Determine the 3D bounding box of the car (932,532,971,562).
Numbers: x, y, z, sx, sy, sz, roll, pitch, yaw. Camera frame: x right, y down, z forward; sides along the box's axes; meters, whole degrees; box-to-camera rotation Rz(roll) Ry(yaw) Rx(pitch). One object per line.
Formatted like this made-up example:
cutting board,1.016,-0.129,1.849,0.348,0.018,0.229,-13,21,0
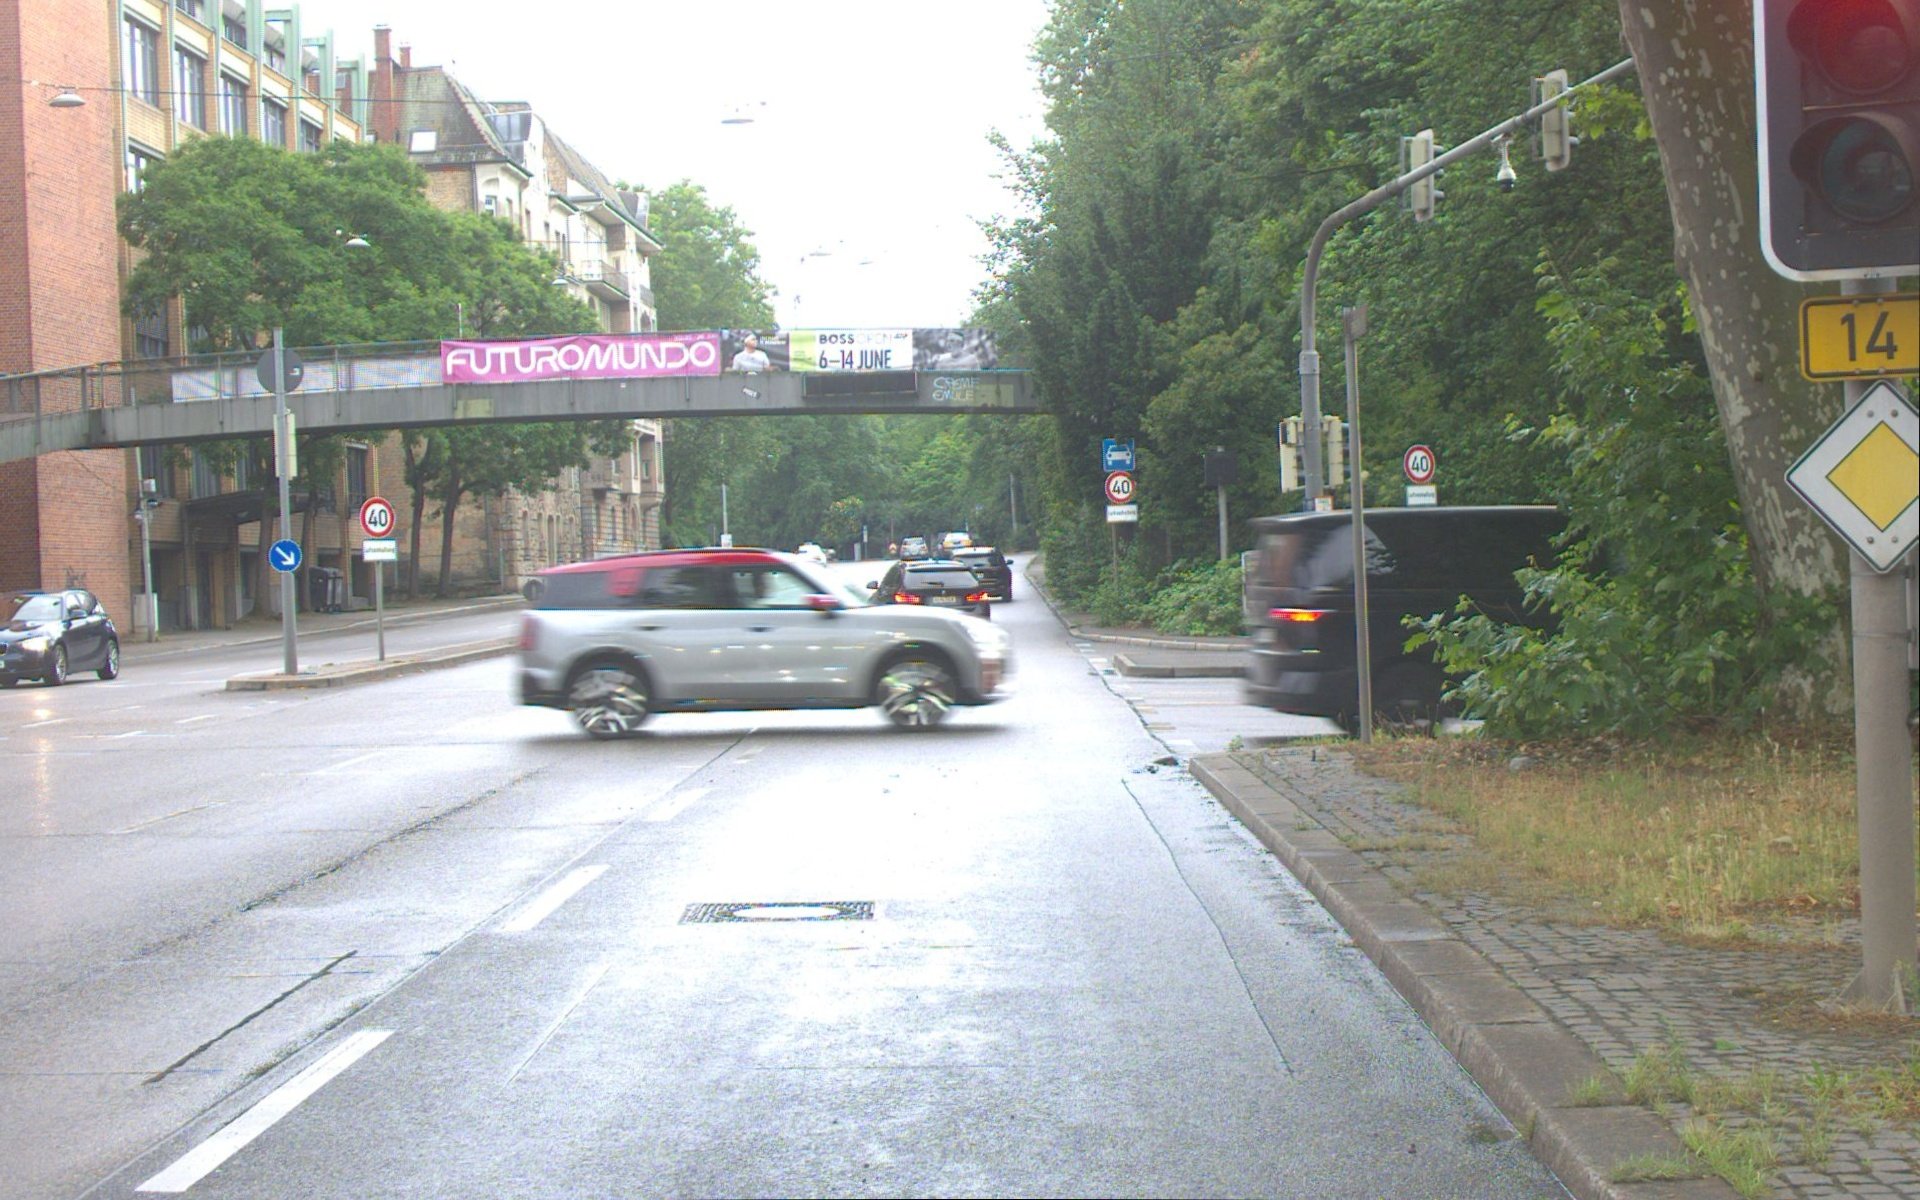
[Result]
car,-0.502,-3.111,202.028,2.120,1.729,4.199,0,2,-3

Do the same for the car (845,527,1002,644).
car,-0.687,-0.250,59.899,2.128,1.829,4.354,-4,1,-7

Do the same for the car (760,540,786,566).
car,-13.035,-3.250,239.762,1.619,1.691,3.549,-3,1,-1

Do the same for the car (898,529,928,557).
car,-2.981,-3.592,217.145,1.763,1.691,3.706,-3,1,-1

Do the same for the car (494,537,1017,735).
car,-1.773,0.296,30.796,4.510,1.632,1.881,-1,1,0

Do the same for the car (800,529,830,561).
car,-9.307,-3.497,220.863,1.763,1.919,3.706,-3,1,-1

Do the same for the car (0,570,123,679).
car,-13.877,0.349,50.808,1.993,1.514,4.000,-2,1,0

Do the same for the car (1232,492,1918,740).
car,4.873,0.108,27.701,5.075,1.839,2.000,-1,0,-4

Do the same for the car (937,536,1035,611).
car,0.664,-0.712,91.875,2.128,1.829,4.354,-3,1,-5
